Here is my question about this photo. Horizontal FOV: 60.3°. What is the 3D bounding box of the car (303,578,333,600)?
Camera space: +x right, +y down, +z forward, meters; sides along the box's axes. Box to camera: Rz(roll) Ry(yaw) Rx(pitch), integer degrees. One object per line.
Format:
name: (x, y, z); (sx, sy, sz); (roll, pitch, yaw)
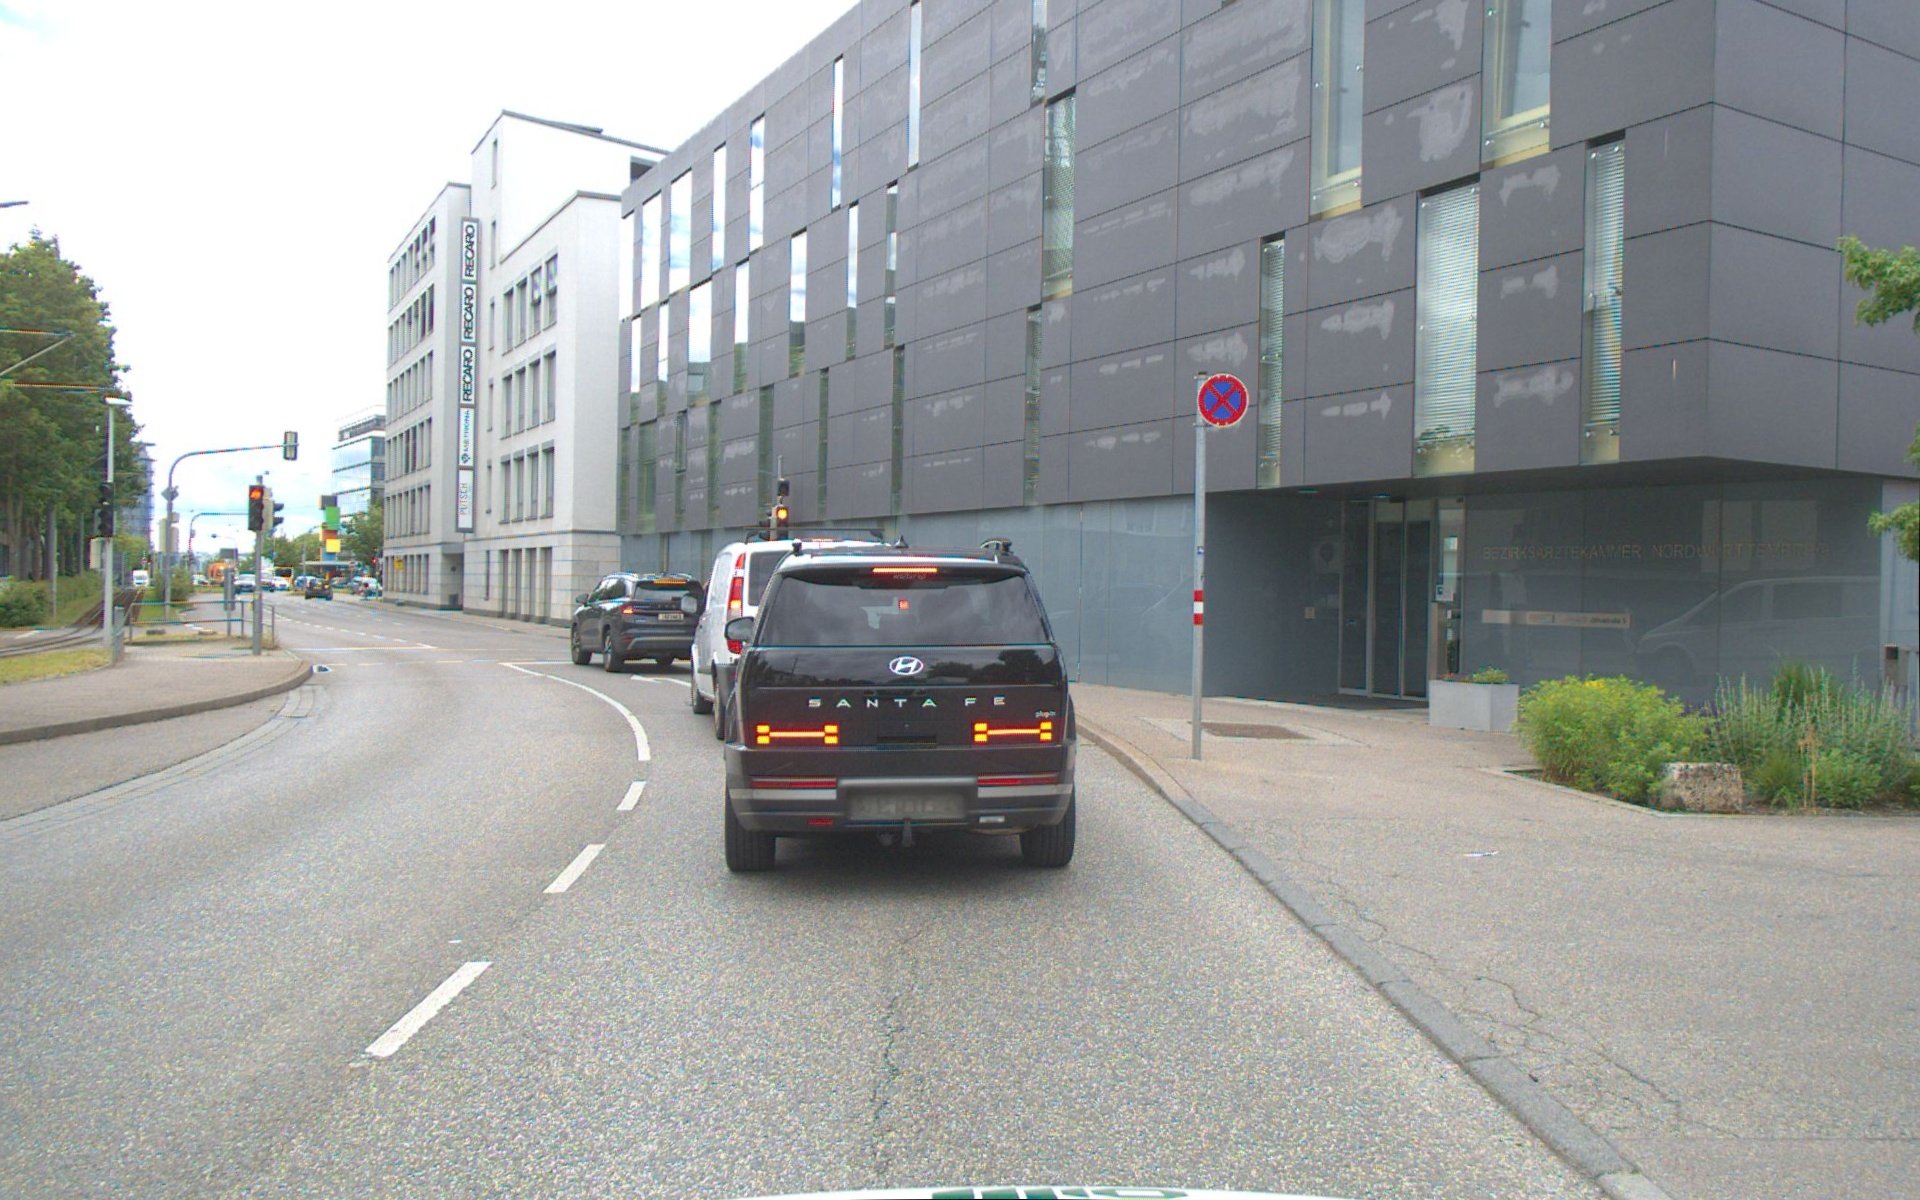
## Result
car: (-46.852, -0.826, 120.750); (1.871, 1.512, 3.978); (1, 0, -19)

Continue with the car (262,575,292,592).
car: (-70.040, -1.692, 169.640); (1.839, 1.657, 3.945); (1, 0, -38)

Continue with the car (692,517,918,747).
car: (-1.750, 0.263, 17.268); (1.823, 2.069, 4.424); (1, 1, -12)

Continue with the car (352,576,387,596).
car: (-52.193, -1.253, 146.154); (1.839, 1.657, 3.945); (1, 0, -38)

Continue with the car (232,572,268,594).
car: (-55.360, -1.317, 129.020); (1.820, 1.725, 3.987); (1, 0, -13)

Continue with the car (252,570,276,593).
car: (-61.151, -1.597, 145.448); (1.826, 1.956, 3.974); (1, 0, -22)

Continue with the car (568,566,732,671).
car: (-5.530, 0.295, 29.095); (1.825, 1.706, 4.340); (0, 0, -25)

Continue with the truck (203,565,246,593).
truck: (-77.616, -2.211, 174.411); (2.556, 2.874, 6.893); (1, 1, -38)

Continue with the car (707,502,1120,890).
car: (-0.359, 0.440, 9.871); (1.877, 1.755, 4.167); (2, 0, -4)
